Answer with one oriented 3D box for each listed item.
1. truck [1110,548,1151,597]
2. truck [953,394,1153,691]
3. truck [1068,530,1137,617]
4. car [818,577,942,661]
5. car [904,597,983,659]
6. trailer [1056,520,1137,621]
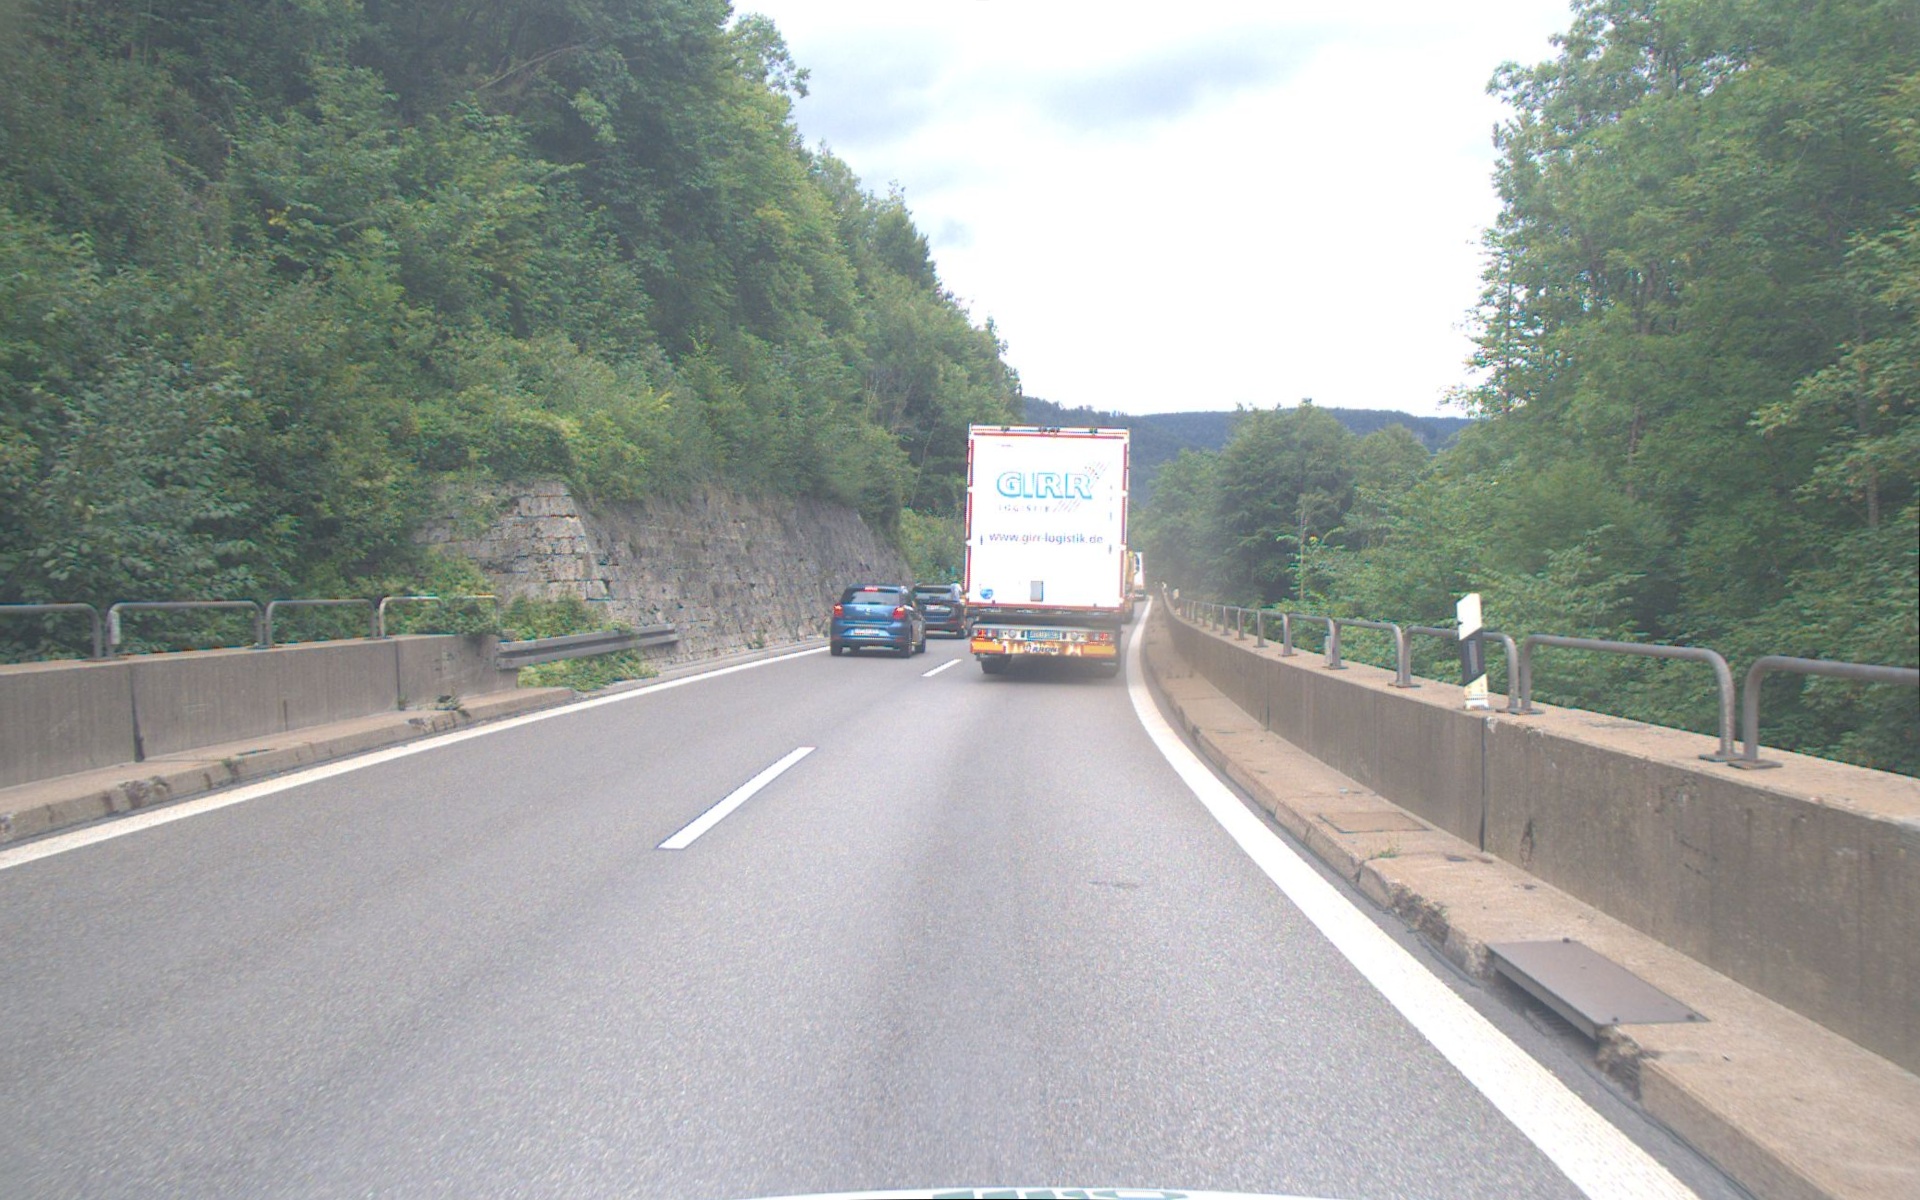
[{"bbox_3d":[14.107,-2.211,136.017,2.908,3.830,10.370,1,0,8],"label":"truck"},{"bbox_3d":[2.110,-0.986,32.949,3.019,4.542,15.166,0,1,5],"label":"truck"},{"bbox_3d":[6.716,-1.201,77.248,2.908,3.830,5.575,2,1,7],"label":"truck"},{"bbox_3d":[-1.603,0.336,34.737,1.951,1.624,4.357,1,1,6],"label":"car"},{"bbox_3d":[-0.414,0.745,45.433,1.708,1.614,4.003,1,0,6],"label":"car"},{"bbox_3d":[6.006,-1.209,70.885,2.908,3.830,12.464,2,1,7],"label":"trailer"}]
